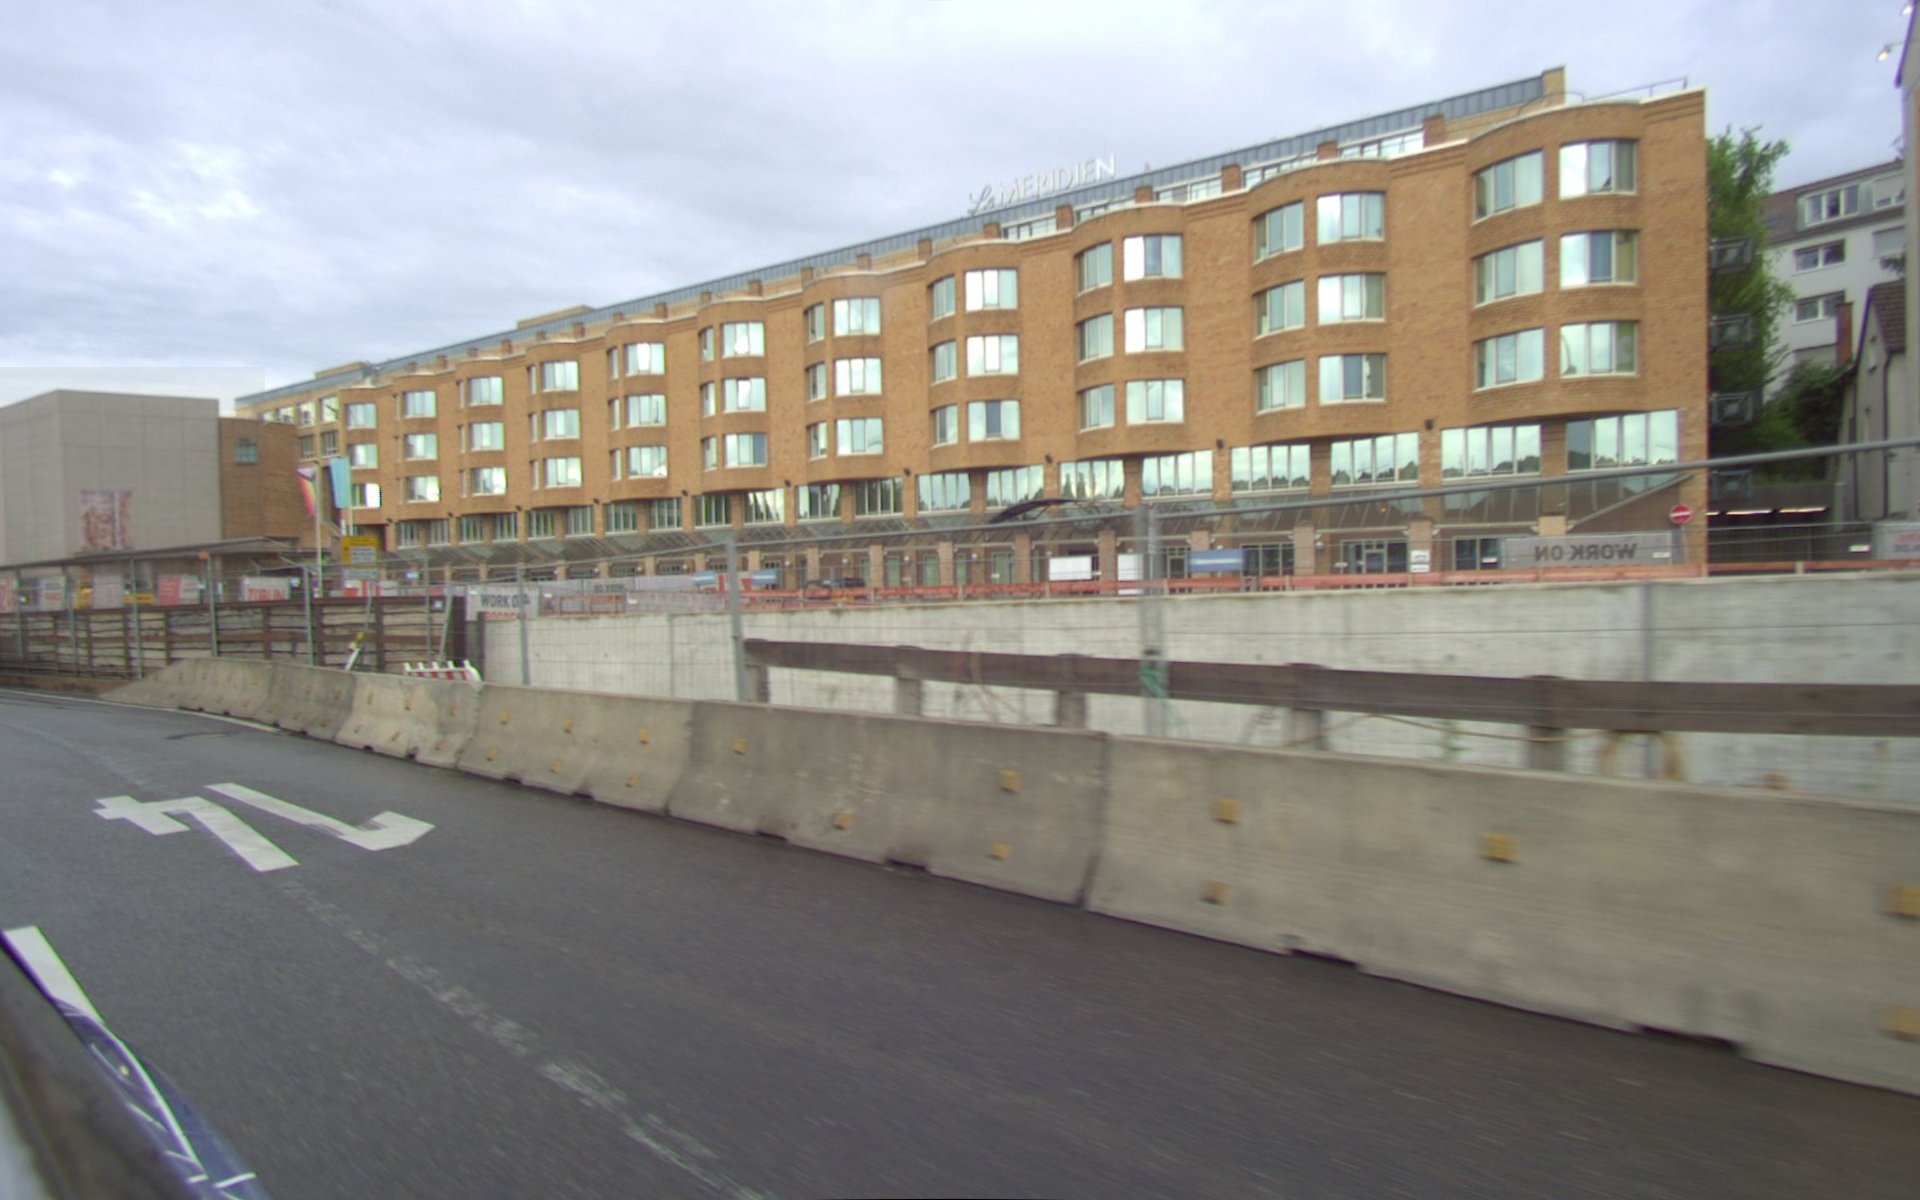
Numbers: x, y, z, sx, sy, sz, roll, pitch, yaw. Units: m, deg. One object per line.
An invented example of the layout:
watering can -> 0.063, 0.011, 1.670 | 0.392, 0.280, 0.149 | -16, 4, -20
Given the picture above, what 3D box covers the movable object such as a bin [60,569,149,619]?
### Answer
movable object such as a bin -> -42.199, -0.262, 49.918 | 4.276, 2.295, 2.012 | -1, -3, 30
